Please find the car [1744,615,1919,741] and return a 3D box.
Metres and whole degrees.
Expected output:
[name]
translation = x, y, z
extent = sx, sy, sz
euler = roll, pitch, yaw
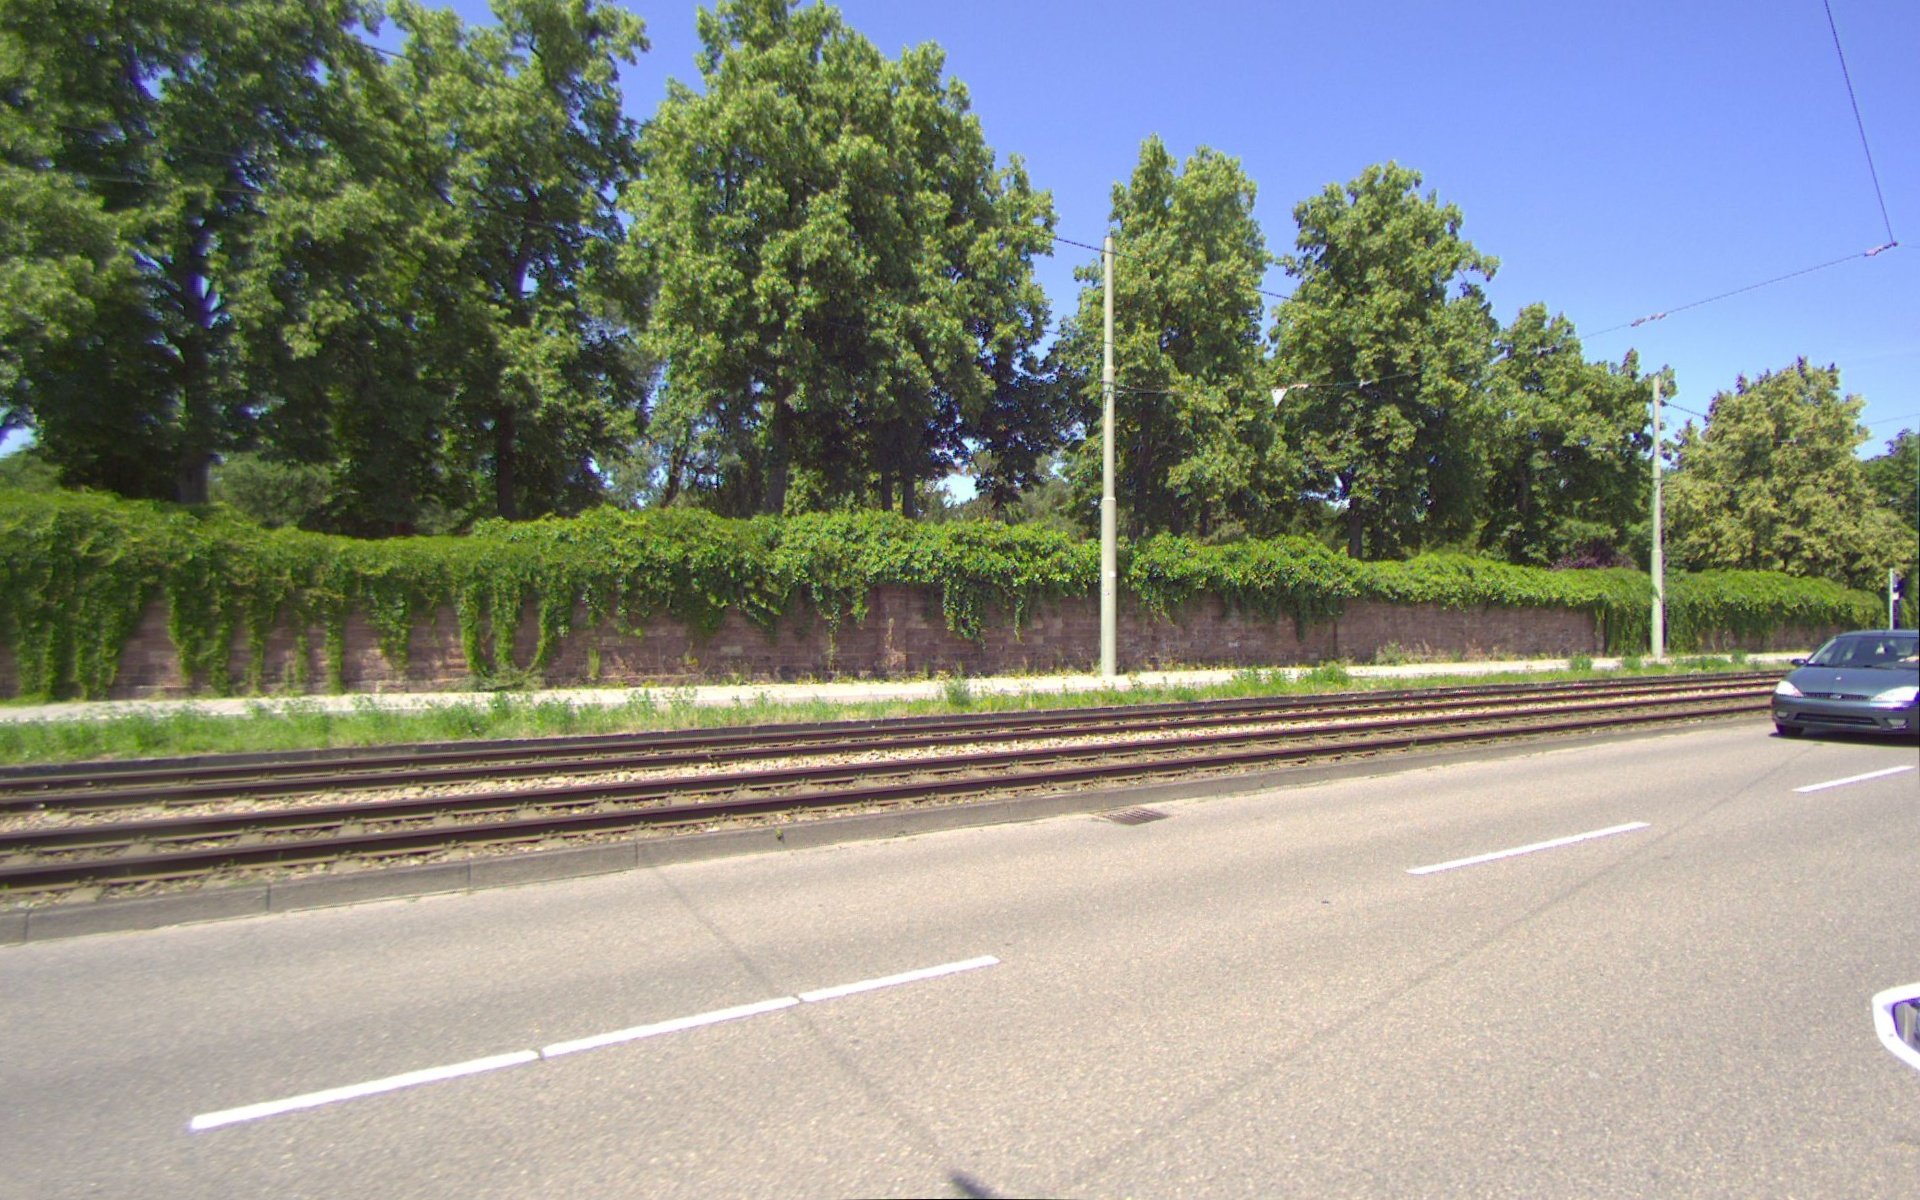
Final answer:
[car]
translation = 13.043, 1.023, 14.167
extent = 4.275, 1.529, 1.747
euler = 1, -3, -32
